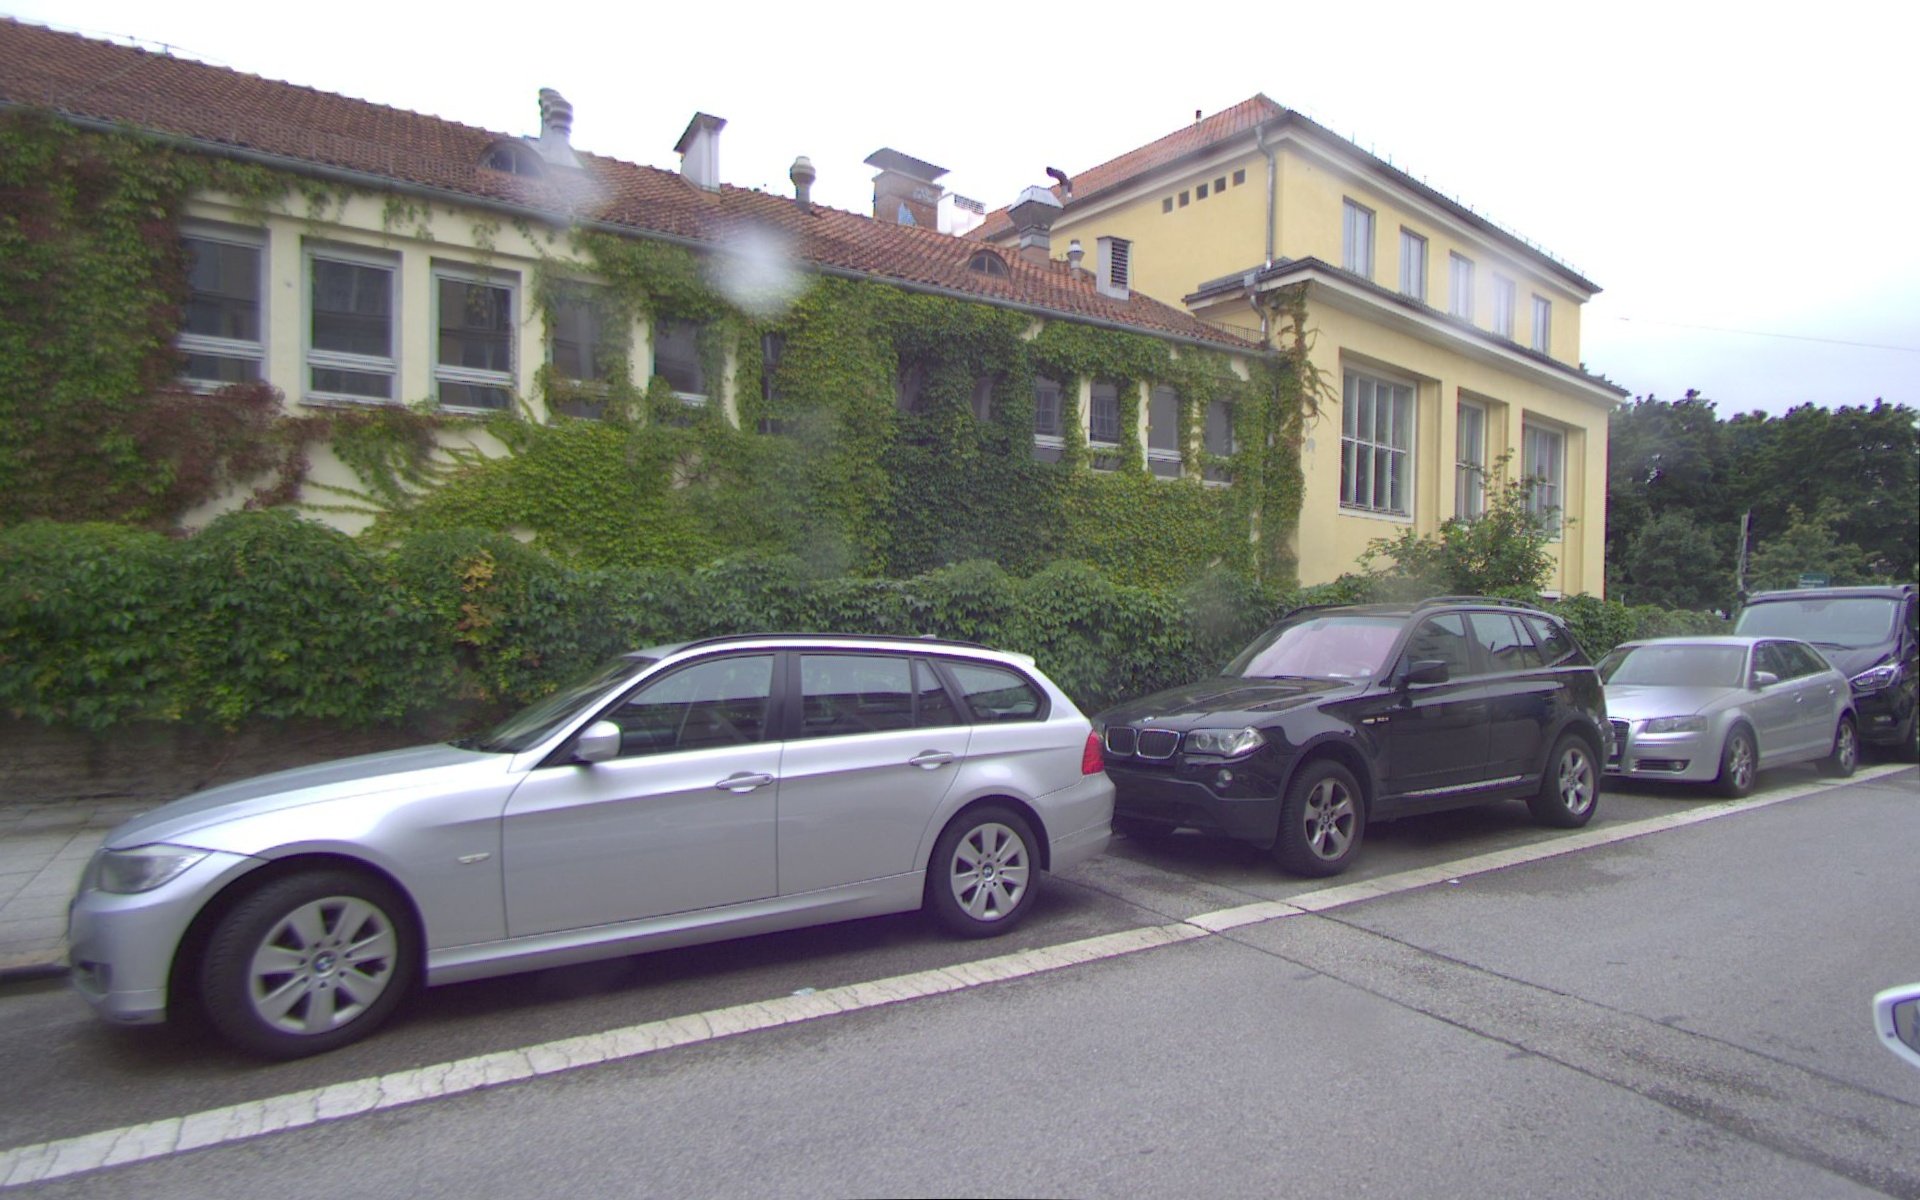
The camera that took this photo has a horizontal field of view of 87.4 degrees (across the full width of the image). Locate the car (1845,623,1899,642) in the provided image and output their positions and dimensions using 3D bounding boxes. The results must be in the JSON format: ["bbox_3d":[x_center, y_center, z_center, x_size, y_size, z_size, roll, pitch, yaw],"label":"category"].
[{"bbox_3d":[69.340,2.446,76.466,1.963,1.390,3.996,1,-1,26],"label":"car"}]

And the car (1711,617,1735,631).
[{"bbox_3d":[89.648,2.842,118.025,1.966,1.627,3.989,1,-1,34],"label":"car"}]

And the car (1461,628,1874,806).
[{"bbox_3d":[7.064,1.025,9.905,4.450,1.411,1.686,1,-4,-32],"label":"car"}]

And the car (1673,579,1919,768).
[{"bbox_3d":[11.472,0.864,13.025,5.298,1.990,2.059,2,-2,-36],"label":"car"}]

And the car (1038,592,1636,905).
[{"bbox_3d":[2.854,0.865,7.269,4.440,1.664,1.689,1,-3,-32],"label":"car"}]

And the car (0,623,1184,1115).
[{"bbox_3d":[-1.269,0.862,4.814,4.715,1.433,1.646,1,-3,-30],"label":"car"}]

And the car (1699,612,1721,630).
[{"bbox_3d":[94.129,2.626,126.055,1.966,2.188,3.989,1,-1,34],"label":"car"}]
